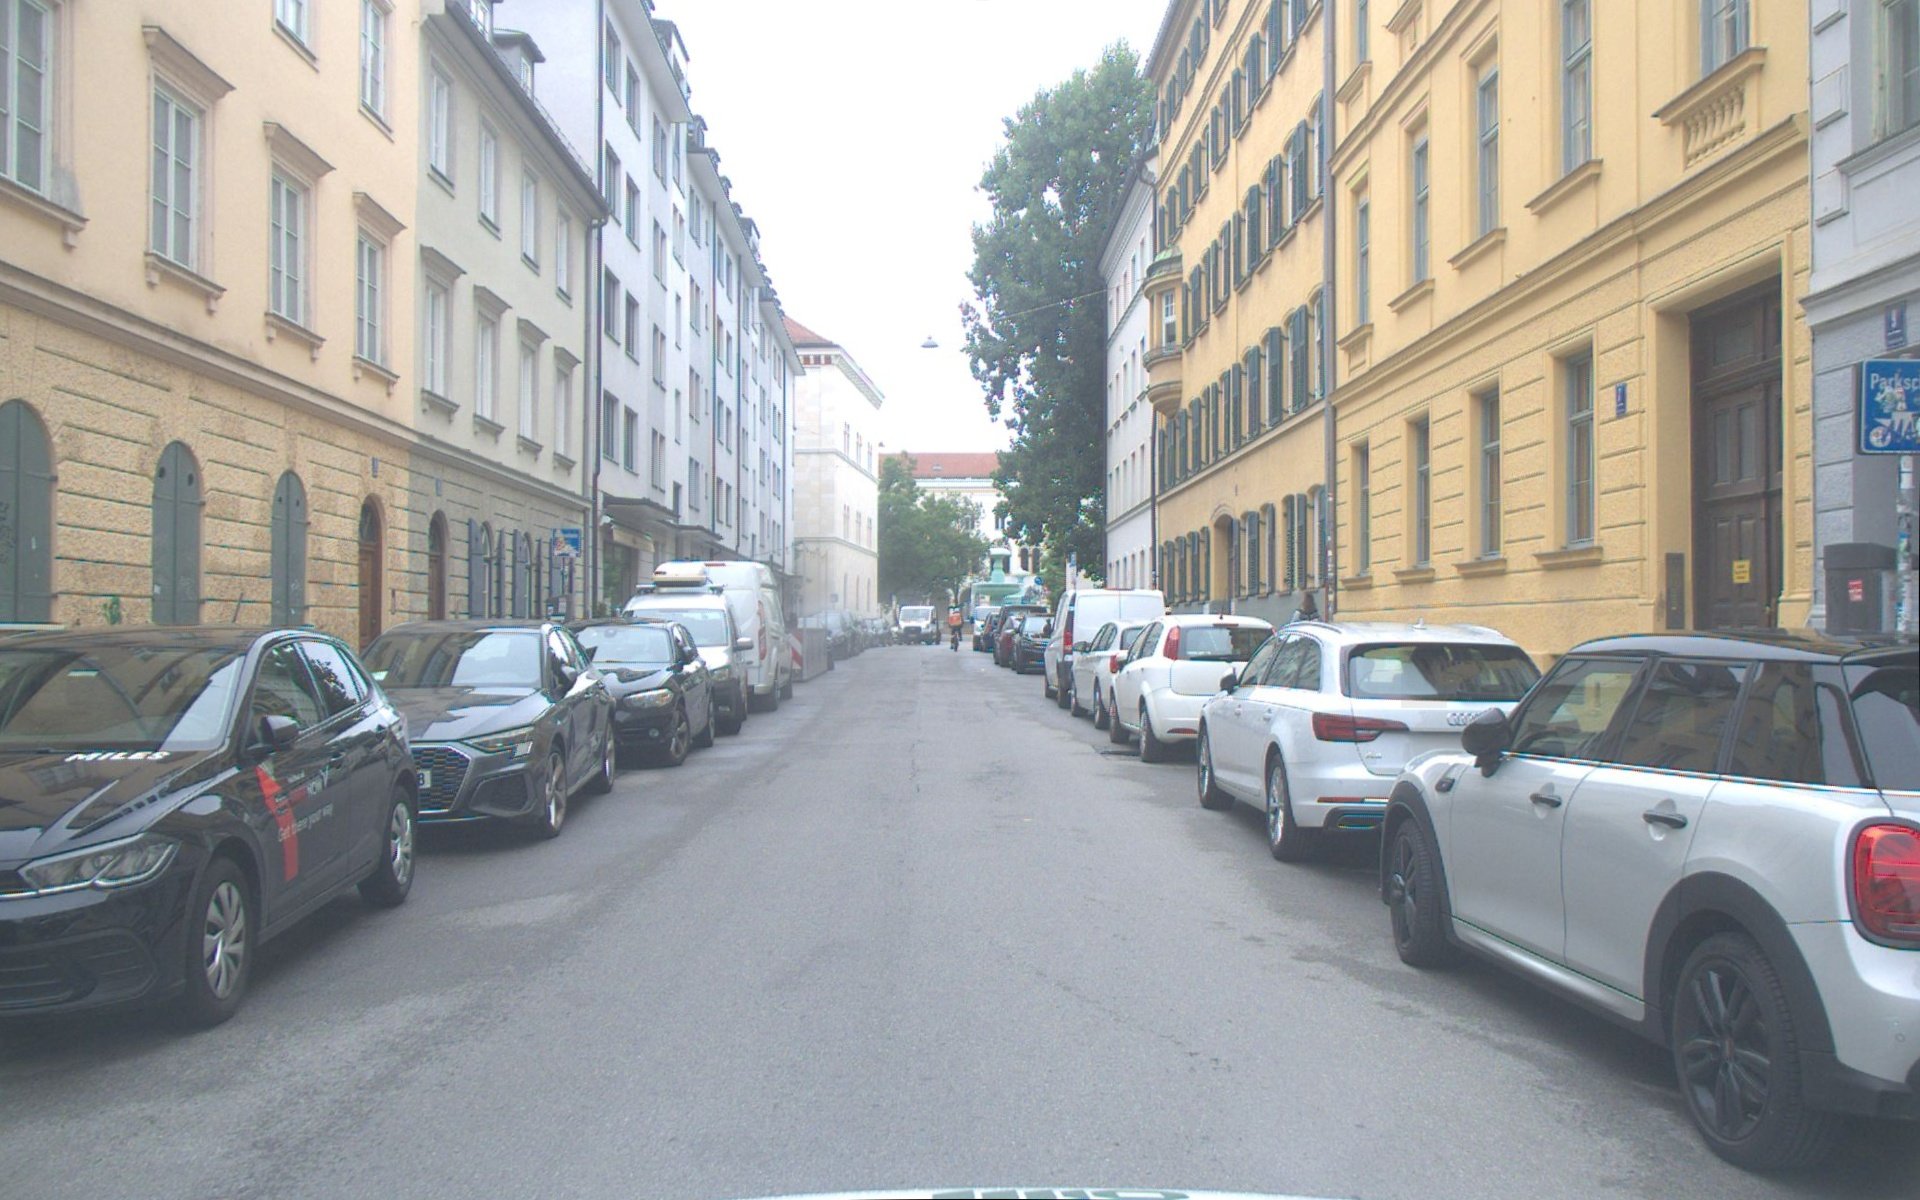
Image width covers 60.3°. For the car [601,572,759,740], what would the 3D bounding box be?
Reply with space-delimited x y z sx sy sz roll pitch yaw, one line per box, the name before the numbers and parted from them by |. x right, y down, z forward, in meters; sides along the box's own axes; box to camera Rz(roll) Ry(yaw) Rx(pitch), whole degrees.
car | -3.668 0.706 22.365 1.720 2.030 4.620 0 -1 -5

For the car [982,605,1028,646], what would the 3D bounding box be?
car | 1.828 1.052 68.891 1.775 1.642 4.155 0 -1 0

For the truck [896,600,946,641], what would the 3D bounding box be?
truck | -2.252 1.233 96.525 2.076 2.287 6.189 -1 -2 7

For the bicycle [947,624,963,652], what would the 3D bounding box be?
bicycle | -0.203 1.596 69.239 0.661 1.114 1.760 0 -2 0

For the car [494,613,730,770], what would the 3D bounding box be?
car | -3.470 0.862 17.196 1.719 1.433 4.101 0 -1 -2

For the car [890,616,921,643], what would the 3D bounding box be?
car | -3.410 1.828 104.050 1.671 1.609 3.863 -1 -1 2

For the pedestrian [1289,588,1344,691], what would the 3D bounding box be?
pedestrian | 5.719 0.628 26.540 0.647 1.599 0.642 -3 -2 -2

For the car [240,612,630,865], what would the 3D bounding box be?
car | -3.567 0.842 12.023 1.780 1.467 4.127 -1 0 -5

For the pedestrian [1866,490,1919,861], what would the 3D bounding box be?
pedestrian | 5.523 0.402 9.000 0.656 2.015 0.708 -3 -2 -1

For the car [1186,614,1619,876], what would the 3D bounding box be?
car | 2.766 0.826 11.503 1.673 1.433 4.813 0 -1 -1

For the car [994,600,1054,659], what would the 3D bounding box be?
car | 2.103 0.979 54.938 1.775 1.829 4.246 1 -1 0

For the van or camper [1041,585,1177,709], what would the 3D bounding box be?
van or camper | 2.435 0.757 28.146 1.796 1.904 5.078 0 -1 -1

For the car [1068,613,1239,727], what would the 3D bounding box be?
car | 2.563 0.907 22.830 1.674 1.417 4.204 0 -1 -3

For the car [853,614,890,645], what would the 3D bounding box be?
car | -4.769 1.574 89.387 1.671 1.638 3.863 -1 -1 1

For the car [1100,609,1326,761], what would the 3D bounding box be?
car | 2.650 0.857 18.195 1.674 1.480 4.094 0 -1 -3

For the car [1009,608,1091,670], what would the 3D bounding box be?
car | 2.264 0.981 42.565 1.775 1.490 4.245 1 -1 -1

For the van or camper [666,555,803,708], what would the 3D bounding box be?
van or camper | -3.687 0.514 27.819 1.719 2.321 5.271 0 -1 -2

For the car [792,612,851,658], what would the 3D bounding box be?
car | -4.680 1.179 56.197 1.781 1.470 3.816 -1 -1 -2

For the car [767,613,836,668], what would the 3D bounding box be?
car | -4.451 1.113 46.019 1.729 1.435 4.147 -1 -1 -8

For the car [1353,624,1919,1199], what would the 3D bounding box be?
car | 2.865 0.813 6.025 1.674 1.429 4.204 0 -1 -3

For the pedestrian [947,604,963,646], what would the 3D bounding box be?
pedestrian | -0.209 1.069 69.308 0.629 1.744 0.842 0 -2 0

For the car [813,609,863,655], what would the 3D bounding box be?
car | -4.514 1.185 61.651 1.672 1.638 3.861 -1 -1 -2

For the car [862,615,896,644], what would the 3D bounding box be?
car | -4.656 1.700 95.452 1.671 1.609 3.863 -1 -1 2

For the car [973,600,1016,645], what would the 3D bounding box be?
car | 1.527 1.028 74.762 1.814 1.953 4.768 0 -1 0

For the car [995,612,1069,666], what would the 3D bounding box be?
car | 2.037 1.110 48.029 1.775 1.449 4.244 1 -1 -2

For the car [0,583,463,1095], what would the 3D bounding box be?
car | -3.486 0.730 6.983 1.720 1.522 4.197 0 -1 -4
